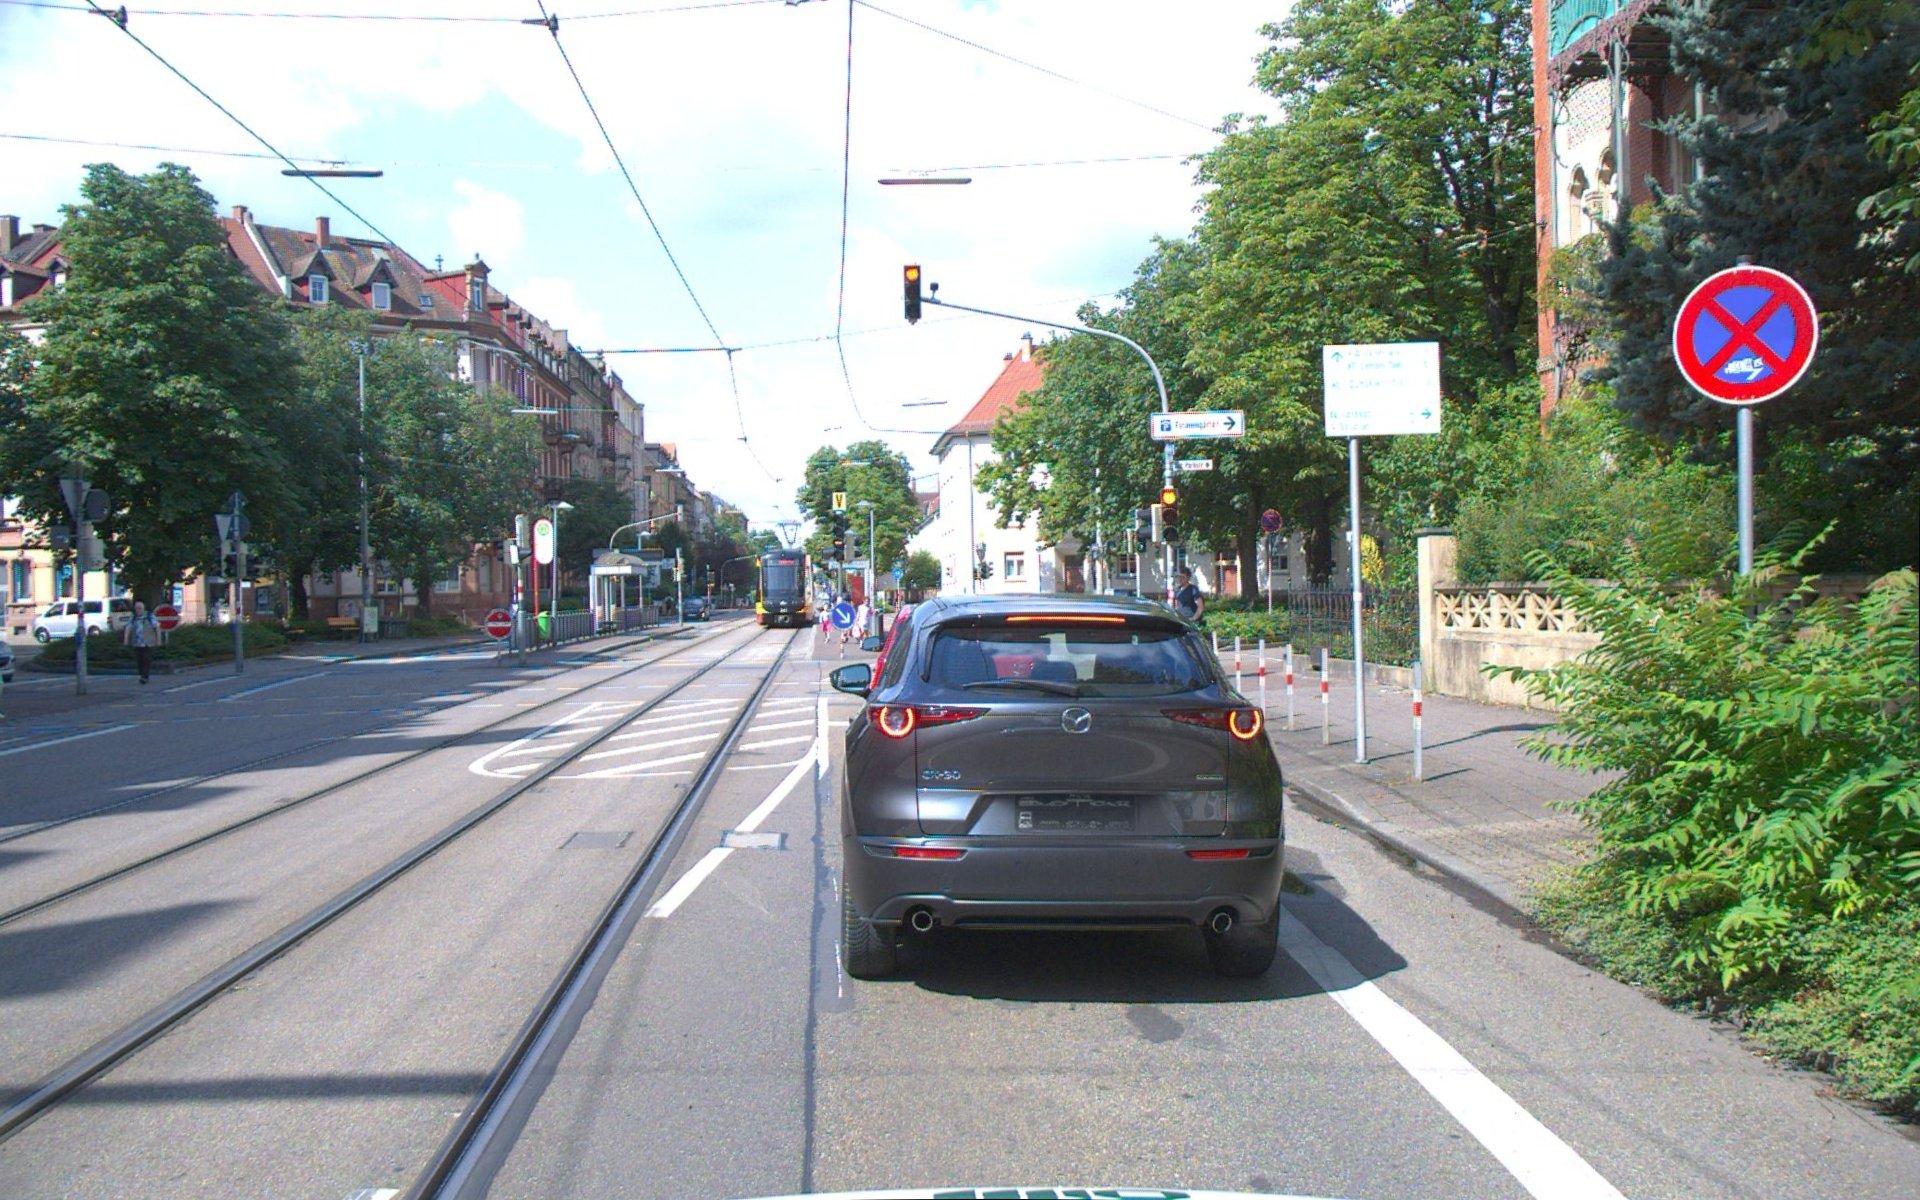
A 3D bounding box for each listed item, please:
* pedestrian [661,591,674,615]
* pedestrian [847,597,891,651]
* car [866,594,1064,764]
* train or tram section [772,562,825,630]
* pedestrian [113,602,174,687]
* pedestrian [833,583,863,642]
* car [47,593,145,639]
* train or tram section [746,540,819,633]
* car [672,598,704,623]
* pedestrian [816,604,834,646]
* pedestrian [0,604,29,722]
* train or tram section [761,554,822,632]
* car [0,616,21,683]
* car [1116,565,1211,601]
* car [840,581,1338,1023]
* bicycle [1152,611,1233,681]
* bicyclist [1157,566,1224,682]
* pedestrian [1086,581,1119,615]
[{"bbox_3d":[-21.015,0.240,118.860,0.772,1.718,0.731,-1,0,-3],"label":"pedestrian"},{"bbox_3d":[-2.328,0.621,42.509,0.819,1.326,0.708,-4,0,-35],"label":"pedestrian"},{"bbox_3d":[-0.039,0.694,16.472,1.740,1.489,3.840,0,0,-3],"label":"car"},{"bbox_3d":[-10.399,-0.178,107.584,2.938,4.053,13.796,-1,-1,-4],"label":"train or tram section"},{"bbox_3d":[-16.930,0.912,34.324,0.837,1.702,0.821,-1,0,-3],"label":"pedestrian"},{"bbox_3d":[-3.064,0.334,45.310,0.714,1.593,0.797,-1,0,-9],"label":"pedestrian"},{"bbox_3d":[-40.029,0.749,76.644,3.853,2.023,1.857,-1,0,19],"label":"car"},{"bbox_3d":[-8.427,-0.535,80.117,2.938,4.053,13.796,-1,-1,-4],"label":"train or tram section"},{"bbox_3d":[-16.789,0.640,102.192,1.592,1.411,3.434,-3,1,-3],"label":"car"},{"bbox_3d":[-3.700,0.686,45.434,0.414,1.127,0.438,-3,0,-7],"label":"pedestrian"},{"bbox_3d":[-14.662,0.937,24.898,0.741,1.734,0.873,3,0,-5],"label":"pedestrian"},{"bbox_3d":[-9.438,-0.299,93.879,2.938,4.053,13.796,-1,-1,-4],"label":"train or tram section"},{"bbox_3d":[-22.531,1.114,36.681,3.800,1.445,1.713,-1,0,39],"label":"car"},{"bbox_3d":[9.670,-0.806,78.584,4.091,1.536,1.844,-1,2,38],"label":"car"},{"bbox_3d":[0.444,0.721,7.861,1.746,1.540,3.999,1,0,-1],"label":"car"},{"bbox_3d":[3.808,0.737,26.998,0.382,1.053,1.836,-1,1,39],"label":"bicycle"},{"bbox_3d":[3.748,0.383,26.921,0.724,1.851,0.813,-1,0,-27],"label":"bicyclist"},{"bbox_3d":[5.687,-0.069,66.034,1.170,1.291,0.556,-3,0,-10],"label":"pedestrian"}]
